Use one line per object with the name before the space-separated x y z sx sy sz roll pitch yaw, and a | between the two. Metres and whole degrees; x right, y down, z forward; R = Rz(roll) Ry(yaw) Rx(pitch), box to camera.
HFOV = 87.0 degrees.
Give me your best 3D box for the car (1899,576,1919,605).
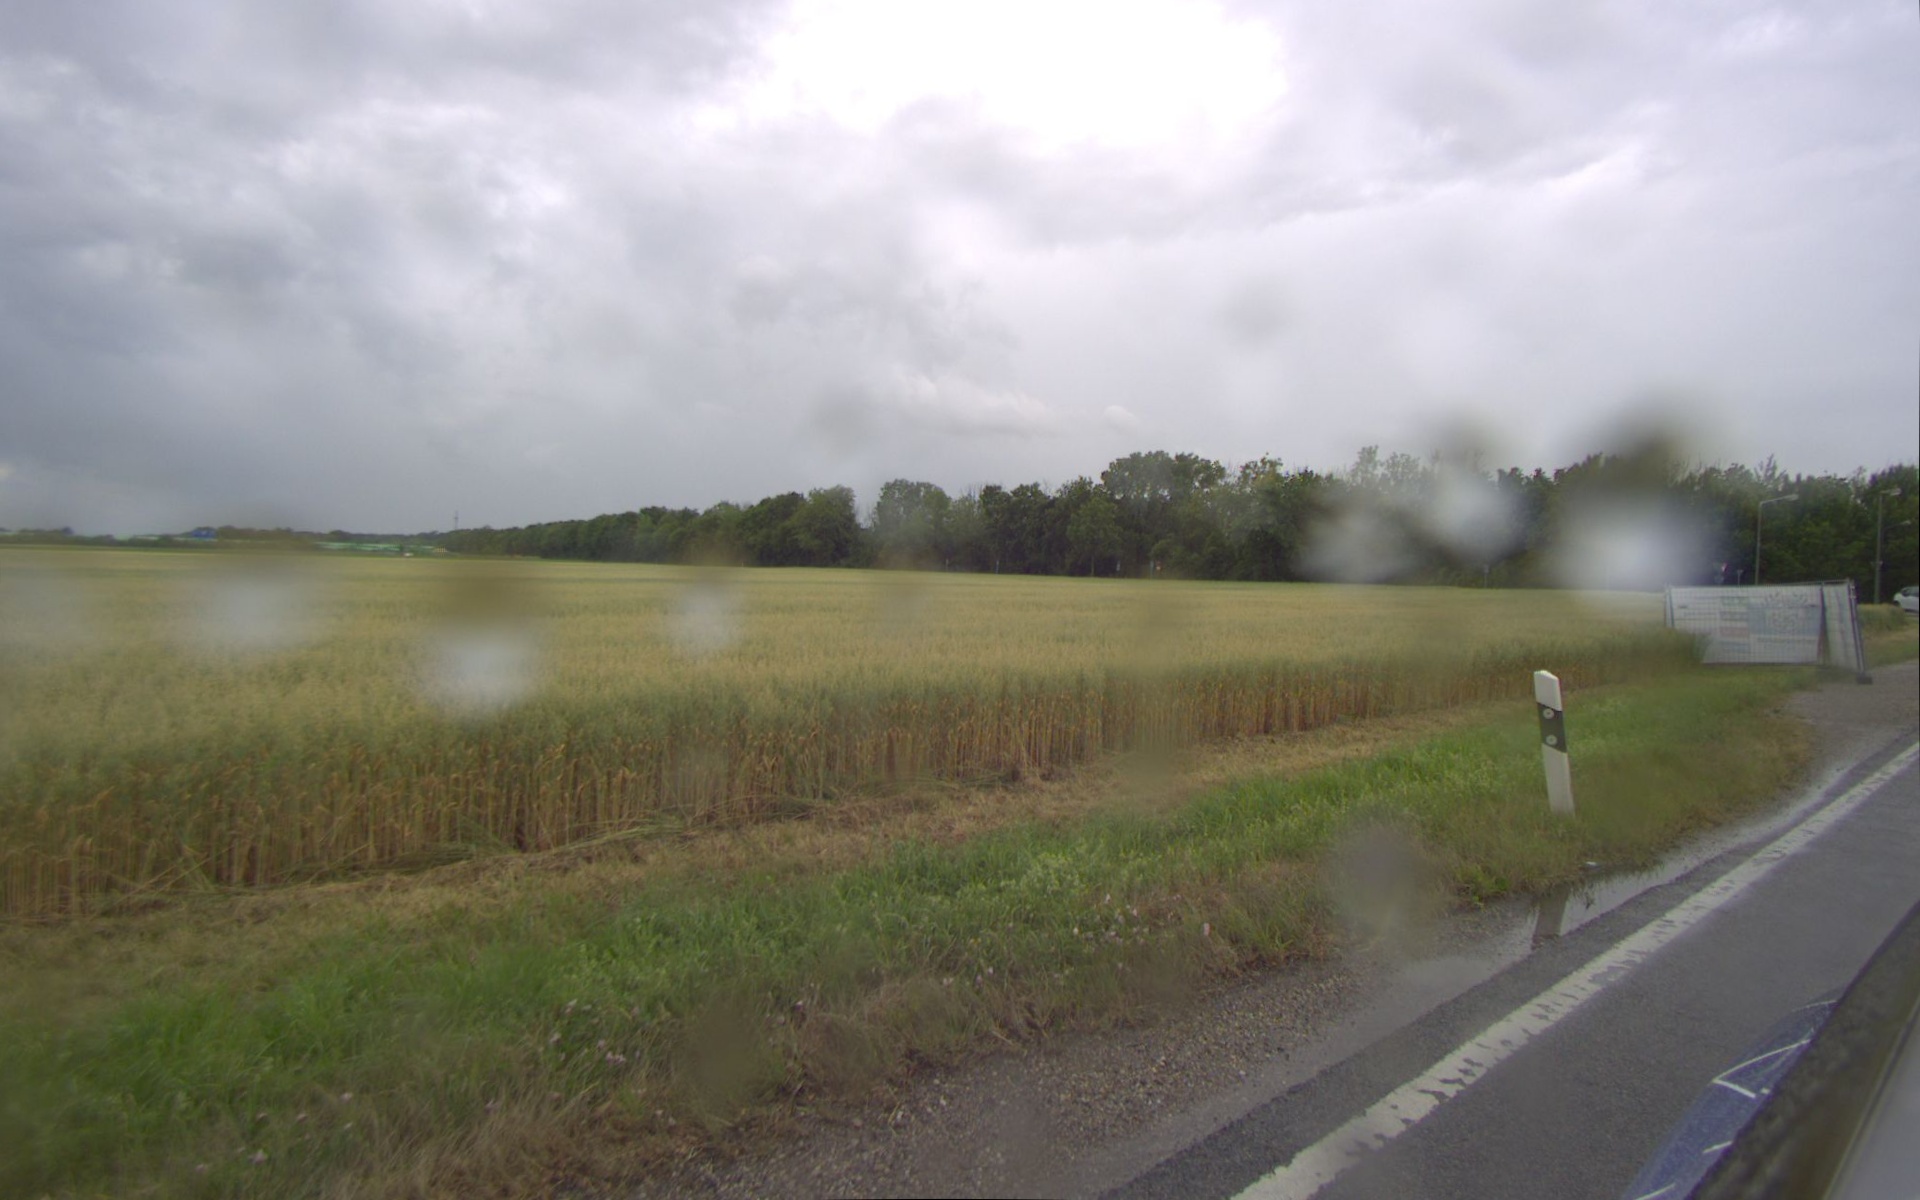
car | 52.987 -0.508 54.535 1.870 1.550 4.472 1 1 21
